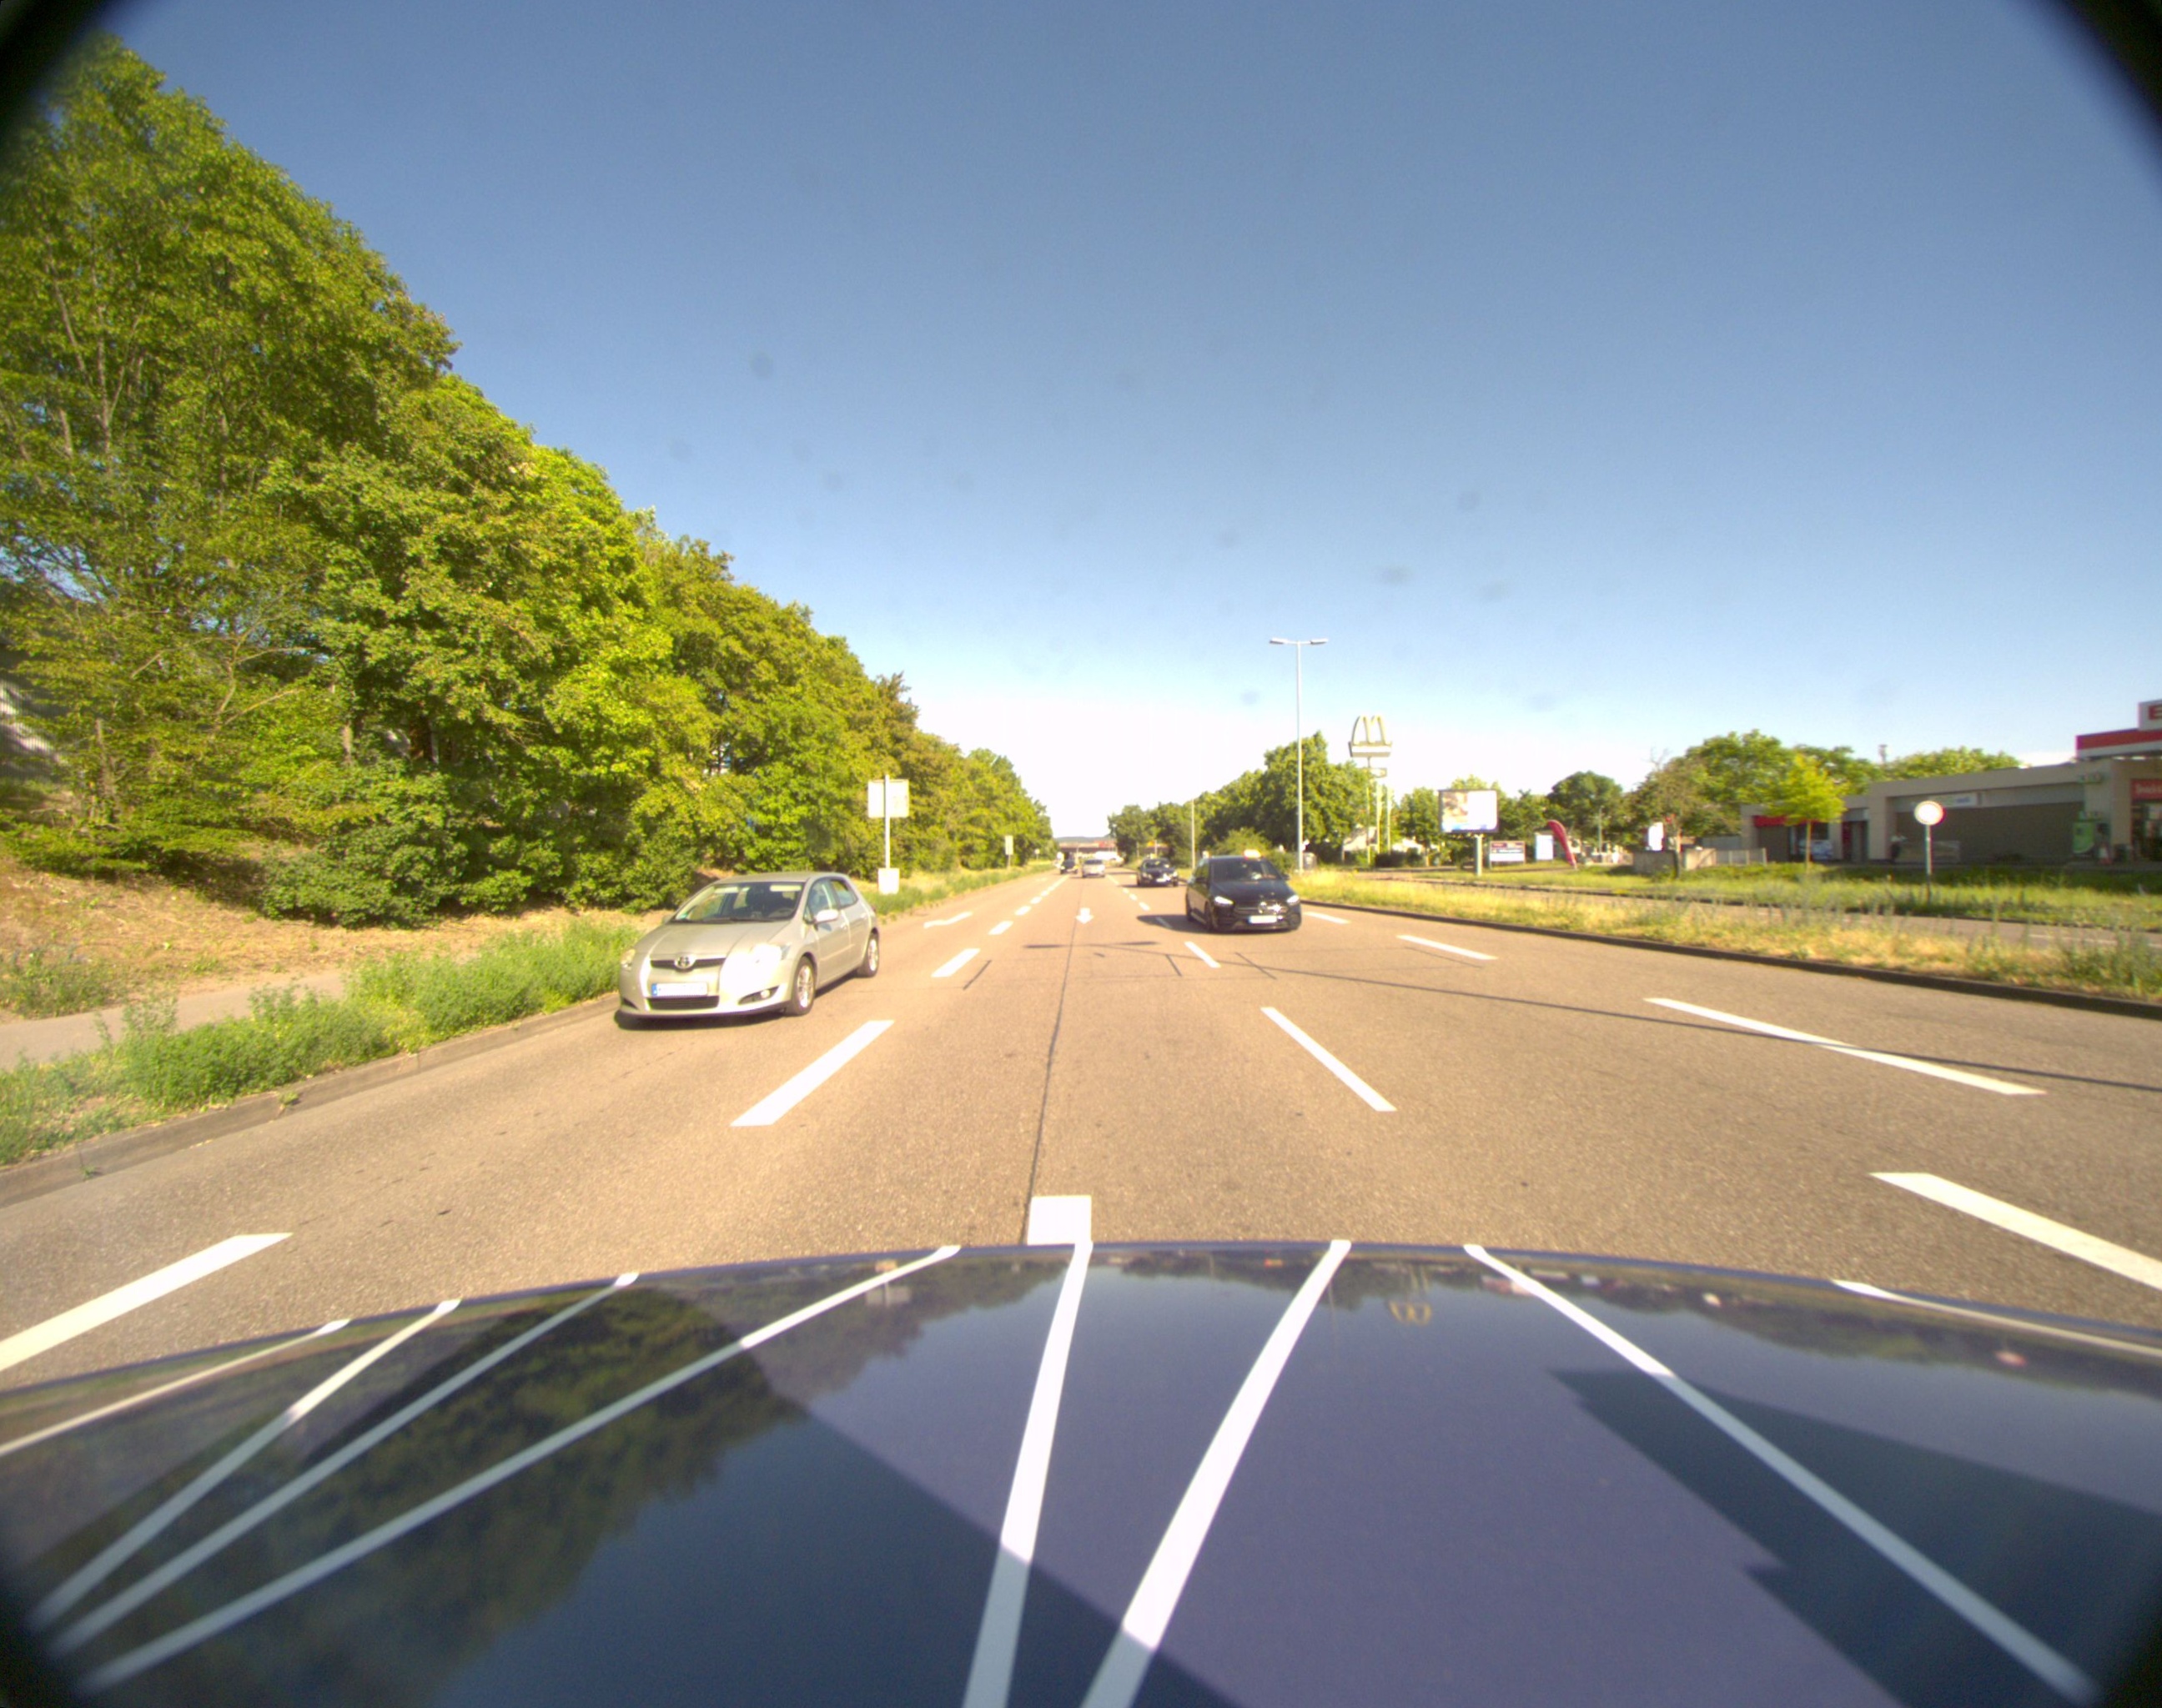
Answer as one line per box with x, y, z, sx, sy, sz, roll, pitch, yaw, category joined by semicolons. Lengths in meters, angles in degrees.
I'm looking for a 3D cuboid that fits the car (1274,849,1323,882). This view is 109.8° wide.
13.231;0.655;46.486;1.682;1.837;4.294;-2;1;0;car

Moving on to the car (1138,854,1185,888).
4.107;0.838;39.478;1.953;1.501;4.462;-2;1;1;car

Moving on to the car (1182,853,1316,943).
3.370;0.806;16.131;1.788;1.592;4.583;-2;0;0;car

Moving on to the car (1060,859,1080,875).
-1.190;1.431;82.685;2.036;1.601;4.098;-2;0;1;car

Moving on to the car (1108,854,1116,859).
8.579;0.707;210.959;1.998;1.433;4.000;-1;0;1;car

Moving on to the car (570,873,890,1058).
-3.718;1.074;8.989;1.788;1.528;4.108;-2;0;1;car

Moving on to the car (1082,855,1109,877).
1.179;0.947;60.862;2.025;1.601;4.098;-2;0;1;car
